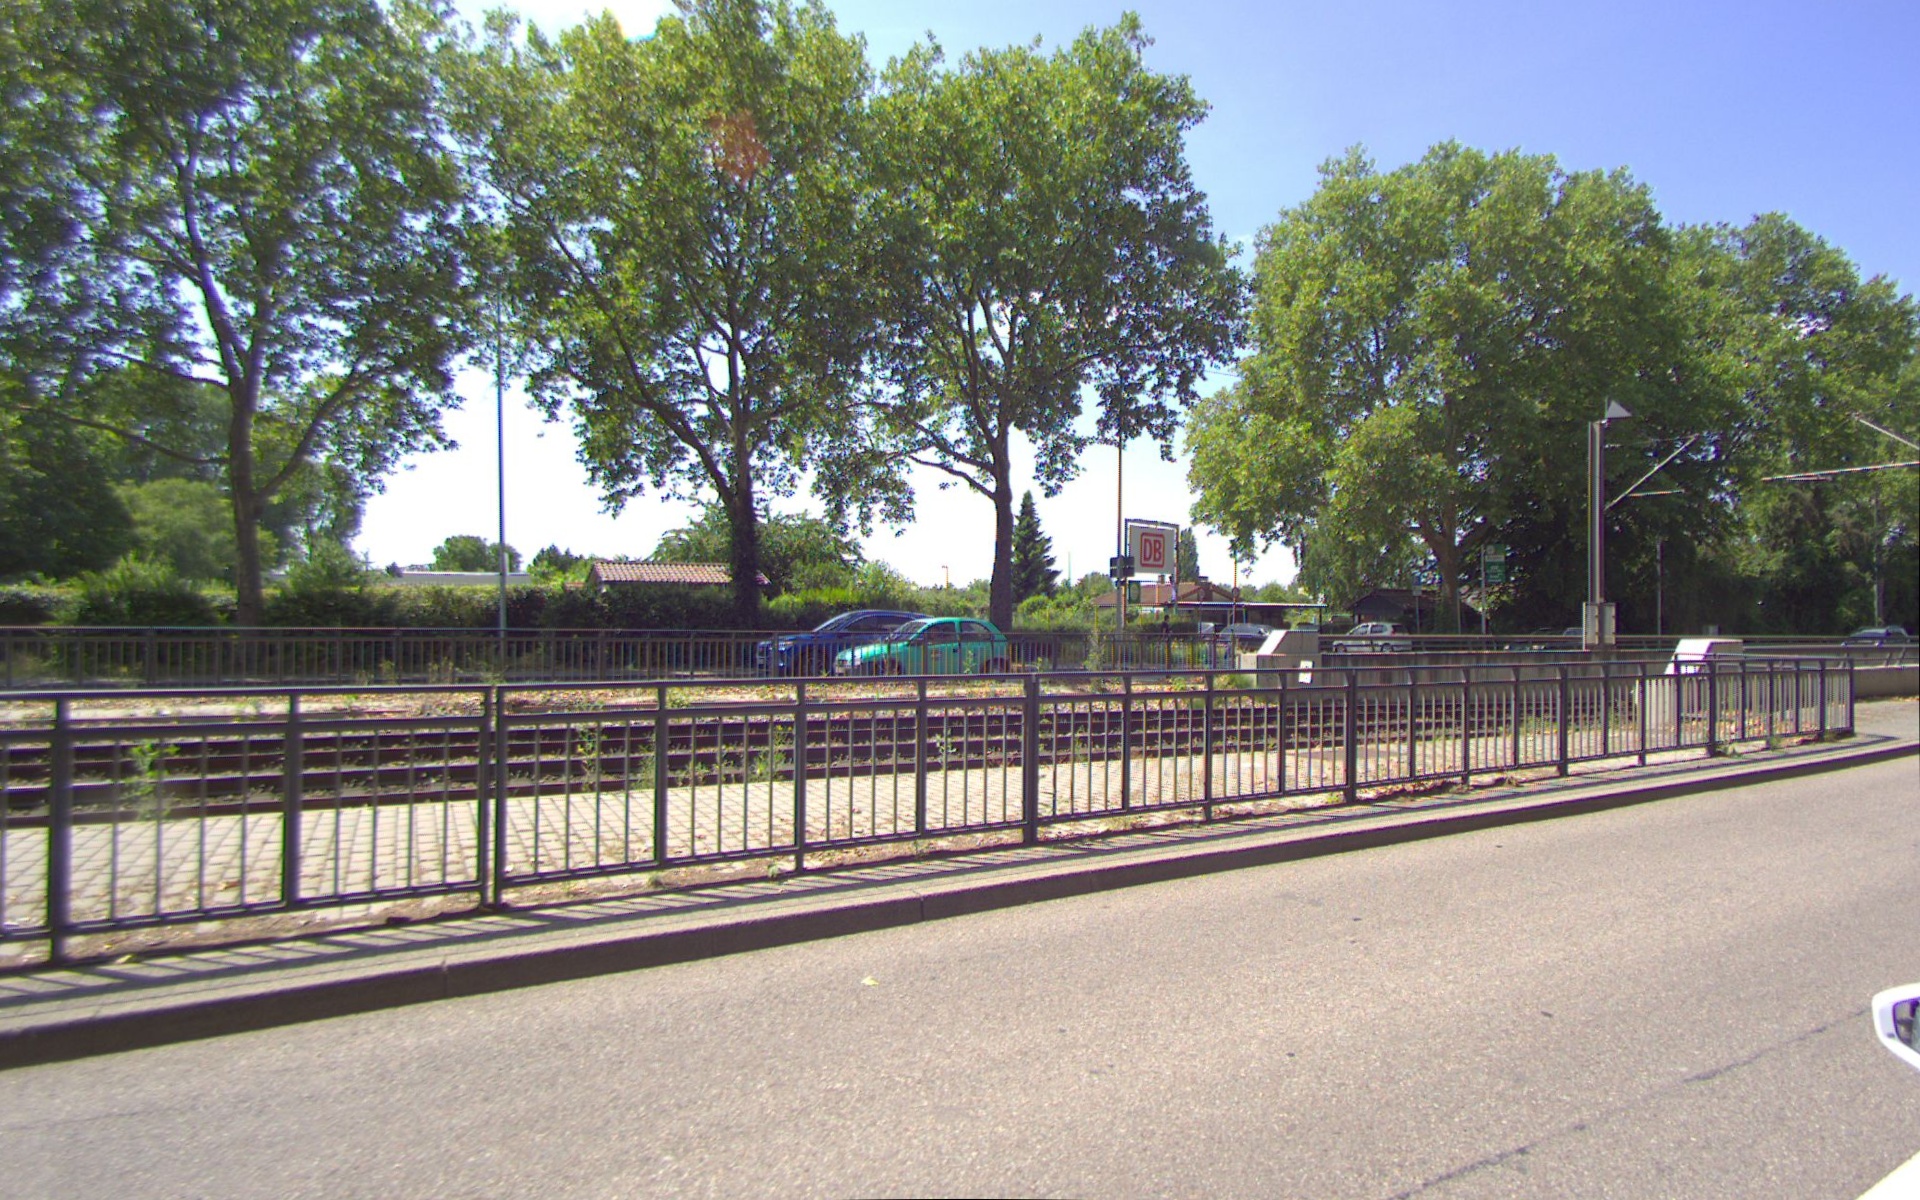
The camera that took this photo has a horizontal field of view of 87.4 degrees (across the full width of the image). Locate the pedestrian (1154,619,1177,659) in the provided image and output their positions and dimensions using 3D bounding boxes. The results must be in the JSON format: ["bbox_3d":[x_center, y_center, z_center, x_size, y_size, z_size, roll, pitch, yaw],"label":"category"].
[{"bbox_3d":[7.817,1.482,38.211,0.641,1.471,0.550,1,-1,-44],"label":"pedestrian"}]

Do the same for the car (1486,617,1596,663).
[{"bbox_3d":[22.762,1.561,39.339,4.329,1.706,1.737,1,-1,-28],"label":"car"}]

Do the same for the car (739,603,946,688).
[{"bbox_3d":[-2.665,1.012,22.912,4.329,1.706,1.736,1,2,-28],"label":"car"}]

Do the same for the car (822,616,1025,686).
[{"bbox_3d":[-0.713,1.000,20.362,3.789,1.282,1.639,1,-1,-28],"label":"car"}]

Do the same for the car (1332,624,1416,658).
[{"bbox_3d":[19.337,1.899,47.000,1.641,1.495,3.288,1,-1,-40],"label":"car"}]

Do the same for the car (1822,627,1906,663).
[{"bbox_3d":[47.647,2.361,52.949,4.329,1.706,1.860,1,2,-28],"label":"car"}]

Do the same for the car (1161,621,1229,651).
[{"bbox_3d":[12.760,1.936,54.641,1.641,1.495,3.288,1,-1,-40],"label":"car"}]
